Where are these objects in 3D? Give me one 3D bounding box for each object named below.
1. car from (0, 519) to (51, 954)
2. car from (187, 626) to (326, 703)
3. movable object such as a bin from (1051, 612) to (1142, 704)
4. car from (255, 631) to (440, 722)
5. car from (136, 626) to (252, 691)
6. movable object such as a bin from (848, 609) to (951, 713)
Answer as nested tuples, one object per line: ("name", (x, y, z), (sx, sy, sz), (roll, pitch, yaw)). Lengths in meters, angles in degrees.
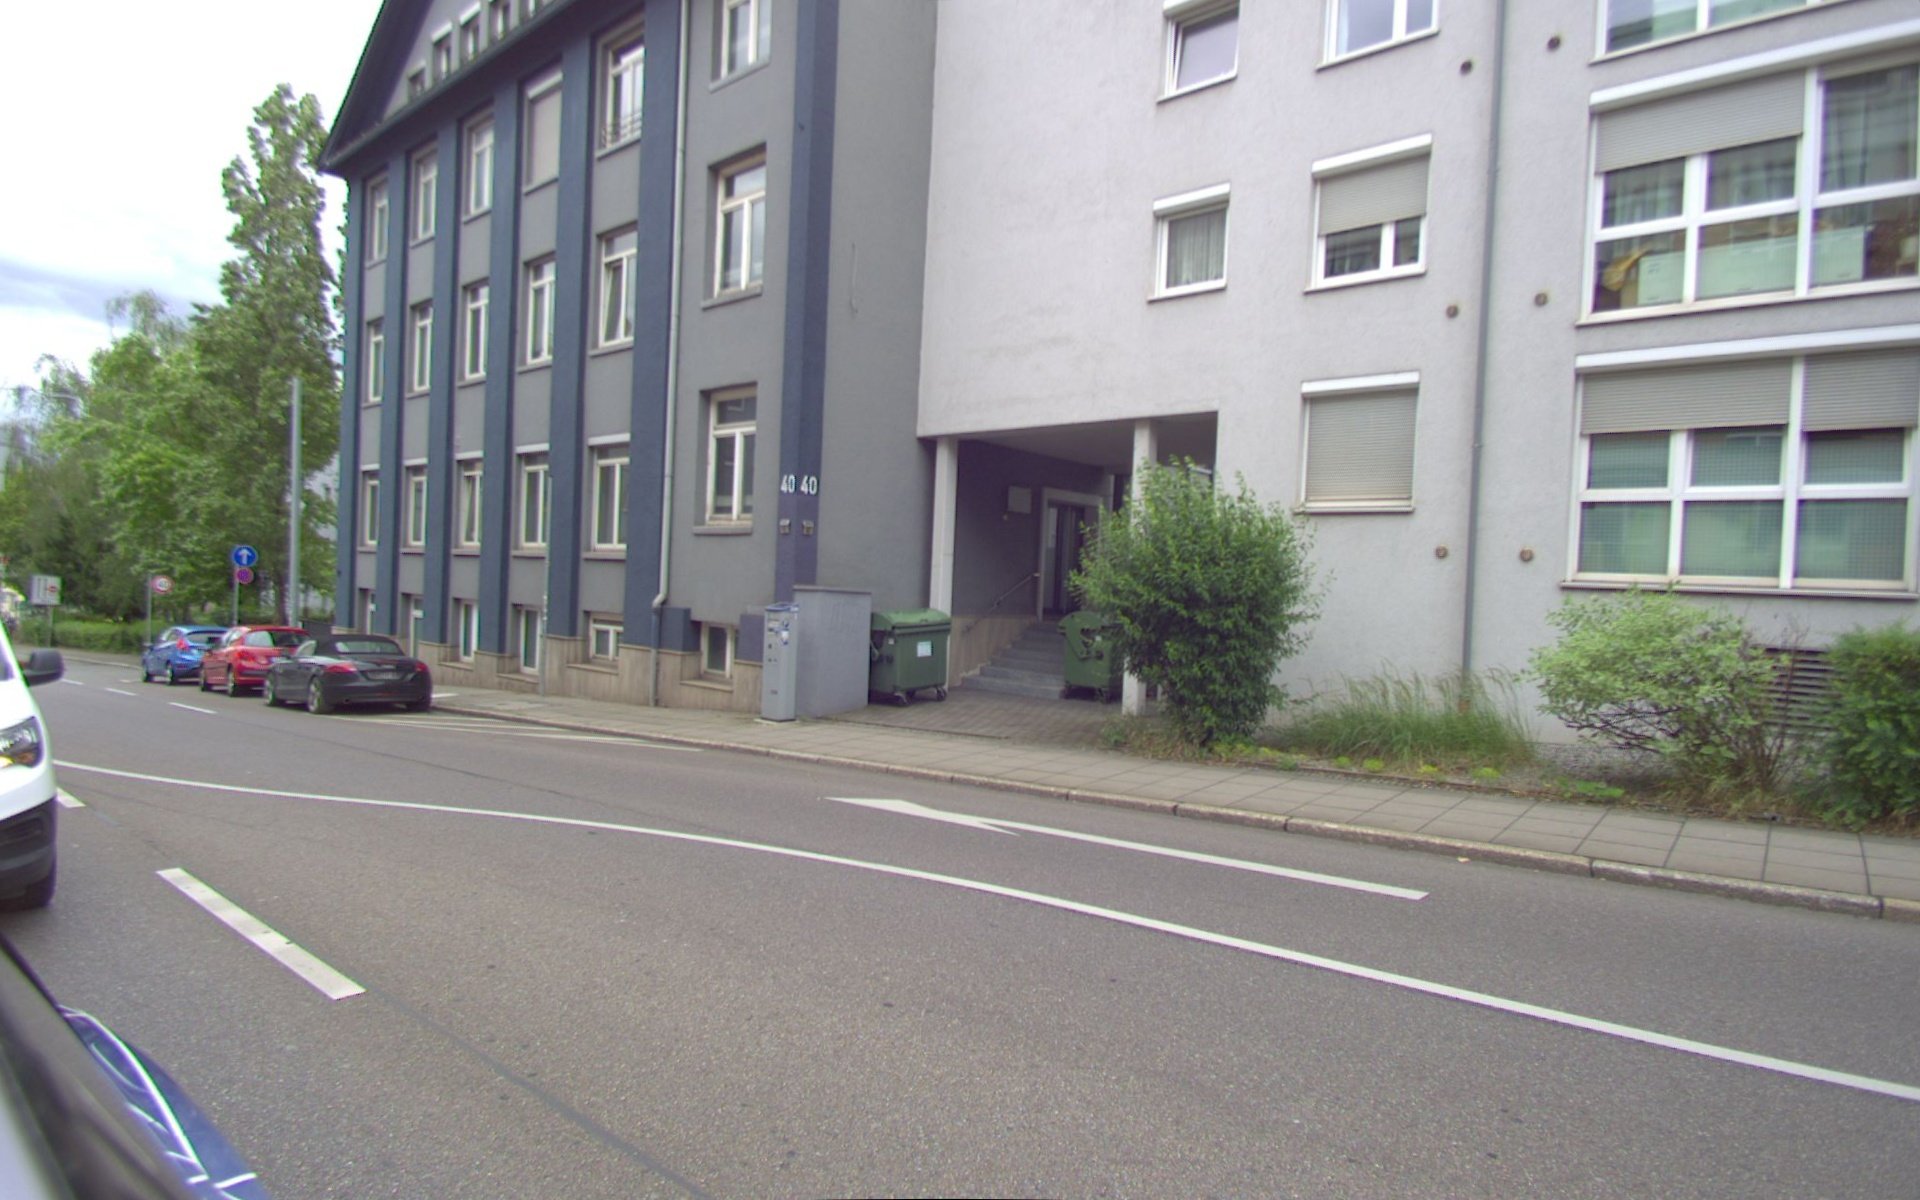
("car", (-6.151, 0.619, 5.218), (3.998, 1.901, 1.716), (-1, 0, 41))
("car", (-15.361, 1.328, 22.035), (3.727, 1.460, 1.623), (-1, 0, 41))
("movable object such as a bin", (2.235, 0.915, 16.572), (1.078, 1.427, 1.026), (-1, 0, 41))
("car", (-10.995, 1.285, 18.080), (3.727, 1.403, 1.778), (-1, -2, 41))
("car", (-19.487, 1.433, 25.694), (3.727, 1.460, 1.623), (-1, 0, 41))
("movable object such as a bin", (-0.934, 0.913, 15.758), (1.039, 1.518, 1.213), (-1, 0, 41))
